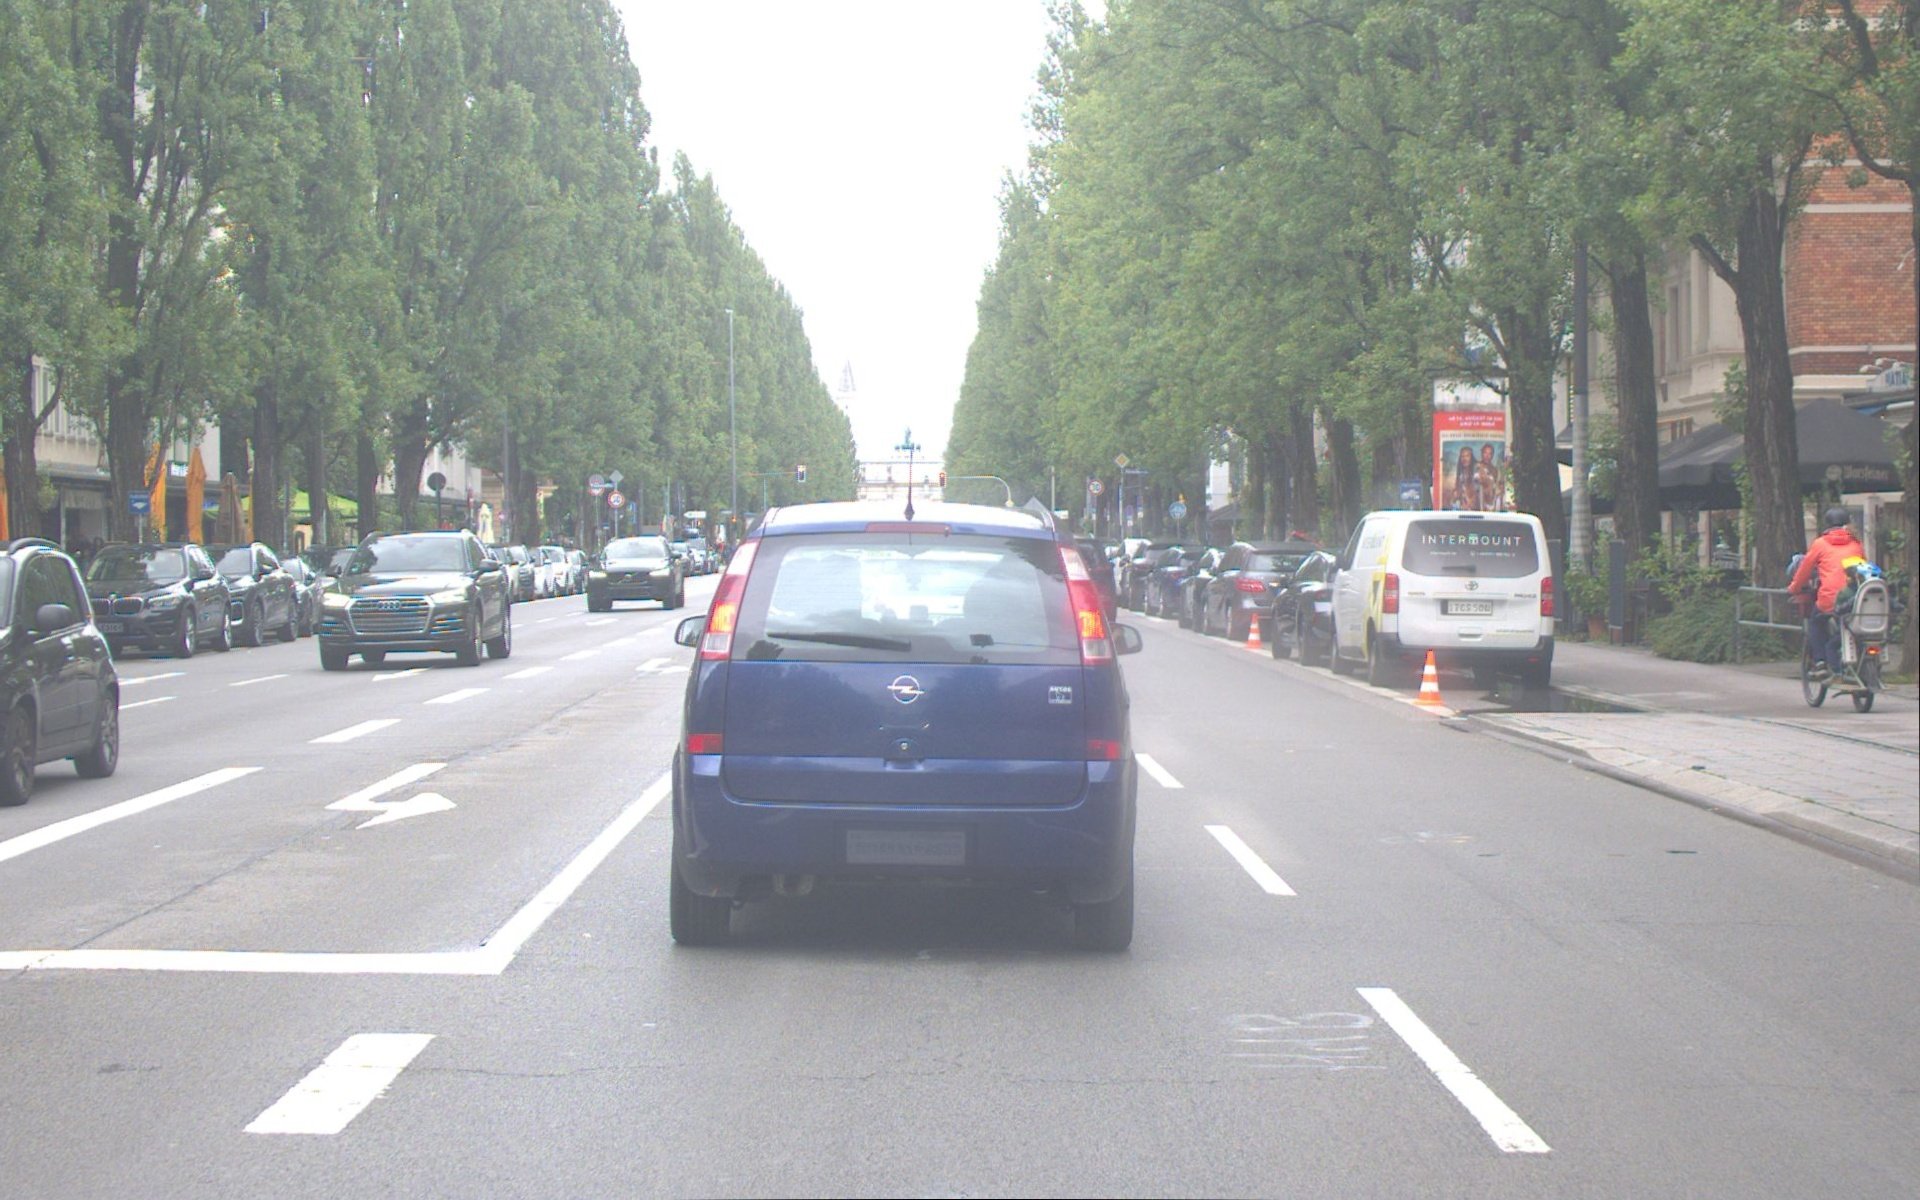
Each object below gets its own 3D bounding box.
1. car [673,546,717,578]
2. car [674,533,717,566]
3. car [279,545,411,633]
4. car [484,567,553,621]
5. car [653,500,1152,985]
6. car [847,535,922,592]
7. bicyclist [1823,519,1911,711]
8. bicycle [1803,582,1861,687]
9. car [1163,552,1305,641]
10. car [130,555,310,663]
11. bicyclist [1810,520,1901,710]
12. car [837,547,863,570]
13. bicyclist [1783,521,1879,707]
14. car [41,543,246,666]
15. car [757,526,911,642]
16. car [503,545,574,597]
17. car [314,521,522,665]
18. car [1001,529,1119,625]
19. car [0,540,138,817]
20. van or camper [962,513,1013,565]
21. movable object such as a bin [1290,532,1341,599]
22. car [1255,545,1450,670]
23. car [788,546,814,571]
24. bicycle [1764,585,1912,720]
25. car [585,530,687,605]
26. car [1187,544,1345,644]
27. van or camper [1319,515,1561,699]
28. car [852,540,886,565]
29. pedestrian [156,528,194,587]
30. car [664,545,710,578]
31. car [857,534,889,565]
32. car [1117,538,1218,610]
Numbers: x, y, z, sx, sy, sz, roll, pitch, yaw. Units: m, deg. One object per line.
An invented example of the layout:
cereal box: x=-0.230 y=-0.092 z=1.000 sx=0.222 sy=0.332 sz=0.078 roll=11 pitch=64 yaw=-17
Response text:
car: x=-13.078 y=-1.893 z=169.724 sx=1.961 sy=1.543 sz=3.779 roll=-1 pitch=1 yaw=-1
car: x=-13.544 y=-2.592 z=176.250 sx=1.993 sy=1.656 sz=4.000 roll=-1 pitch=1 yaw=-1
car: x=-11.707 y=-0.237 z=65.671 sx=1.782 sy=1.570 sz=4.133 roll=-2 pitch=1 yaw=-1
car: x=-12.885 y=-0.184 z=100.418 sx=1.573 sy=1.528 sz=2.922 roll=0 pitch=1 yaw=2
car: x=-0.254 y=0.449 z=13.691 sx=1.681 sy=1.635 sz=4.000 roll=1 pitch=1 yaw=-2
car: x=-2.052 y=-0.991 z=92.687 sx=1.993 sy=1.492 sz=4.000 roll=0 pitch=1 yaw=-2
bicyclist: x=7.550 y=0.123 z=28.630 sx=0.621 sy=1.583 sz=0.391 roll=-1 pitch=1 yaw=-1
bicycle: x=9.083 y=0.346 z=35.838 sx=0.364 sy=1.034 sz=1.730 roll=0 pitch=1 yaw=7
car: x=4.639 y=-0.097 z=58.846 sx=1.878 sy=1.427 sz=4.805 roll=-1 pitch=1 yaw=-2
car: x=-11.755 y=0.106 z=54.882 sx=1.803 sy=1.589 sz=4.631 roll=-1 pitch=1 yaw=1
bicyclist: x=7.539 y=0.119 z=28.952 sx=0.621 sy=1.583 sz=0.481 roll=-1 pitch=1 yaw=-1
car: x=-7.933 y=-3.008 z=248.654 sx=1.835 sy=1.671 sz=3.779 roll=-1 pitch=1 yaw=-1
bicyclist: x=7.522 y=0.111 z=29.708 sx=0.621 sy=1.583 sz=0.753 roll=-1 pitch=1 yaw=-1
car: x=-11.799 y=0.025 z=49.979 sx=1.820 sy=1.612 sz=4.716 roll=0 pitch=2 yaw=0
car: x=-1.692 y=-0.249 z=46.762 sx=1.993 sy=1.492 sz=4.000 roll=0 pitch=1 yaw=-2
car: x=-12.784 y=-0.902 z=104.376 sx=1.835 sy=1.541 sz=4.087 roll=-1 pitch=1 yaw=-3
car: x=-6.612 y=-0.129 z=42.383 sx=1.913 sy=1.675 sz=4.586 roll=0 pitch=1 yaw=-1
car: x=1.662 y=-0.411 z=58.106 sx=1.706 sy=1.568 sz=4.001 roll=0 pitch=1 yaw=-3
car: x=-6.007 y=0.410 z=20.125 sx=1.561 sy=1.491 sz=3.695 roll=-1 pitch=1 yaw=-1
van or camper: x=1.389 y=-3.076 z=174.165 sx=2.476 sy=2.572 sz=5.844 roll=-1 pitch=1 yaw=0
movable object such as a bin: x=9.074 y=-0.890 z=87.827 sx=1.032 sy=1.697 sz=1.587 roll=-1 pitch=1 yaw=-4
car: x=4.890 y=0.055 z=43.345 sx=1.719 sy=1.437 sz=4.354 roll=2 pitch=1 yaw=-3
car: x=-11.584 y=-3.036 z=250.761 sx=1.835 sy=1.733 sz=3.779 roll=-1 pitch=1 yaw=-1
bicycle: x=7.526 y=0.429 z=29.562 sx=0.626 sy=1.083 sz=2.264 roll=-1 pitch=1 yaw=-2
car: x=-7.199 y=-0.737 z=76.680 sx=1.935 sy=1.618 sz=4.337 roll=0 pitch=1 yaw=-1
car: x=4.764 y=-0.125 z=54.020 sx=1.816 sy=1.501 sz=4.233 roll=-1 pitch=1 yaw=-4
van or camper: x=5.173 y=0.030 z=37.677 sx=1.868 sy=1.876 sz=4.903 roll=0 pitch=1 yaw=-1
car: x=-5.202 y=-2.711 z=196.755 sx=1.961 sy=1.394 sz=3.779 roll=-1 pitch=1 yaw=-1
pedestrian: x=-23.236 y=-1.265 z=101.792 sx=0.852 sy=1.738 sz=1.148 roll=0 pitch=1 yaw=0
car: x=-12.728 y=-1.804 z=160.209 sx=1.961 sy=1.525 sz=4.000 roll=-1 pitch=1 yaw=-2
car: x=-5.112 y=-2.970 z=202.360 sx=1.835 sy=1.755 sz=3.779 roll=-1 pitch=1 yaw=-1
car: x=4.169 y=-0.550 z=69.633 sx=1.750 sy=1.400 sz=4.465 roll=0 pitch=1 yaw=0
